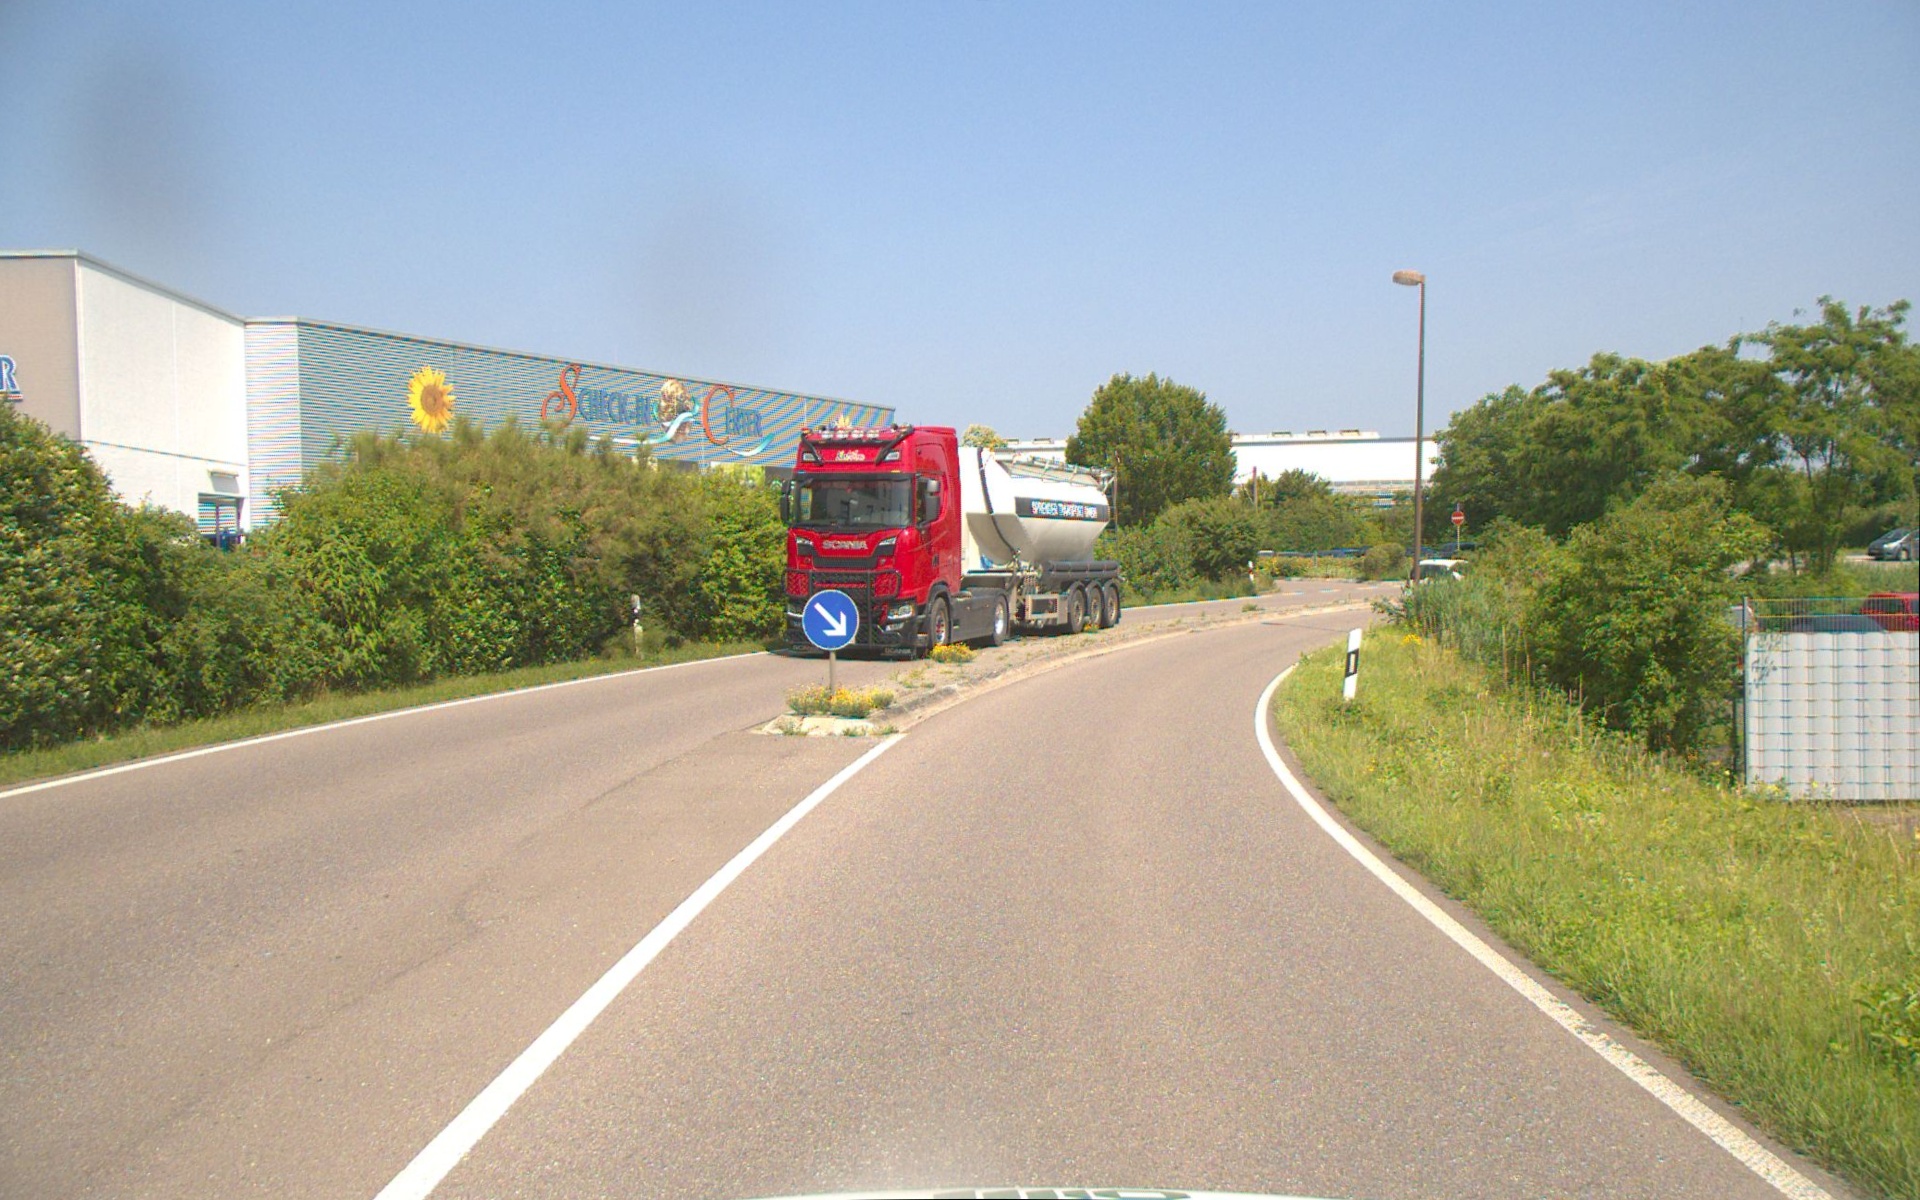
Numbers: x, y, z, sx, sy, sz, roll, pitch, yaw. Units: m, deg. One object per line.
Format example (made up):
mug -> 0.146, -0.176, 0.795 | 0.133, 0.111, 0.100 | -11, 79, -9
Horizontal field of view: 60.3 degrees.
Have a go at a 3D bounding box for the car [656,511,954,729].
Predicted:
car -> -1.507, 0.187, 17.714 | 1.951, 2.049, 4.003 | 0, 0, 14

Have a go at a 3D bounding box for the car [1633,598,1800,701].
car -> 15.853, 0.989, 34.891 | 1.951, 2.049, 4.002 | 0, 0, 5

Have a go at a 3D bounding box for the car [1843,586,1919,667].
car -> 25.113, 0.664, 43.449 | 1.951, 2.049, 4.002 | 0, 0, 5

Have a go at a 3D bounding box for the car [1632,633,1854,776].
car -> 12.518, 1.600, 26.740 | 1.951, 2.049, 4.002 | 0, 0, 5

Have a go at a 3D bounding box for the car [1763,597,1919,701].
car -> 18.704, 0.974, 34.793 | 1.951, 2.049, 4.002 | 0, 0, 5

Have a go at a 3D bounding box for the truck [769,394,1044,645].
truck -> -0.764, -1.310, 30.613 | 2.822, 4.101, 6.723 | 0, 0, 20

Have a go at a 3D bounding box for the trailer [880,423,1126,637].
trailer -> 1.208, -1.341, 36.294 | 2.819, 4.101, 8.698 | 0, 0, 20

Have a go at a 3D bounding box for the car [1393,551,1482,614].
car -> 14.975, -0.517, 51.787 | 1.748, 1.630, 3.886 | 6, 1, 29
